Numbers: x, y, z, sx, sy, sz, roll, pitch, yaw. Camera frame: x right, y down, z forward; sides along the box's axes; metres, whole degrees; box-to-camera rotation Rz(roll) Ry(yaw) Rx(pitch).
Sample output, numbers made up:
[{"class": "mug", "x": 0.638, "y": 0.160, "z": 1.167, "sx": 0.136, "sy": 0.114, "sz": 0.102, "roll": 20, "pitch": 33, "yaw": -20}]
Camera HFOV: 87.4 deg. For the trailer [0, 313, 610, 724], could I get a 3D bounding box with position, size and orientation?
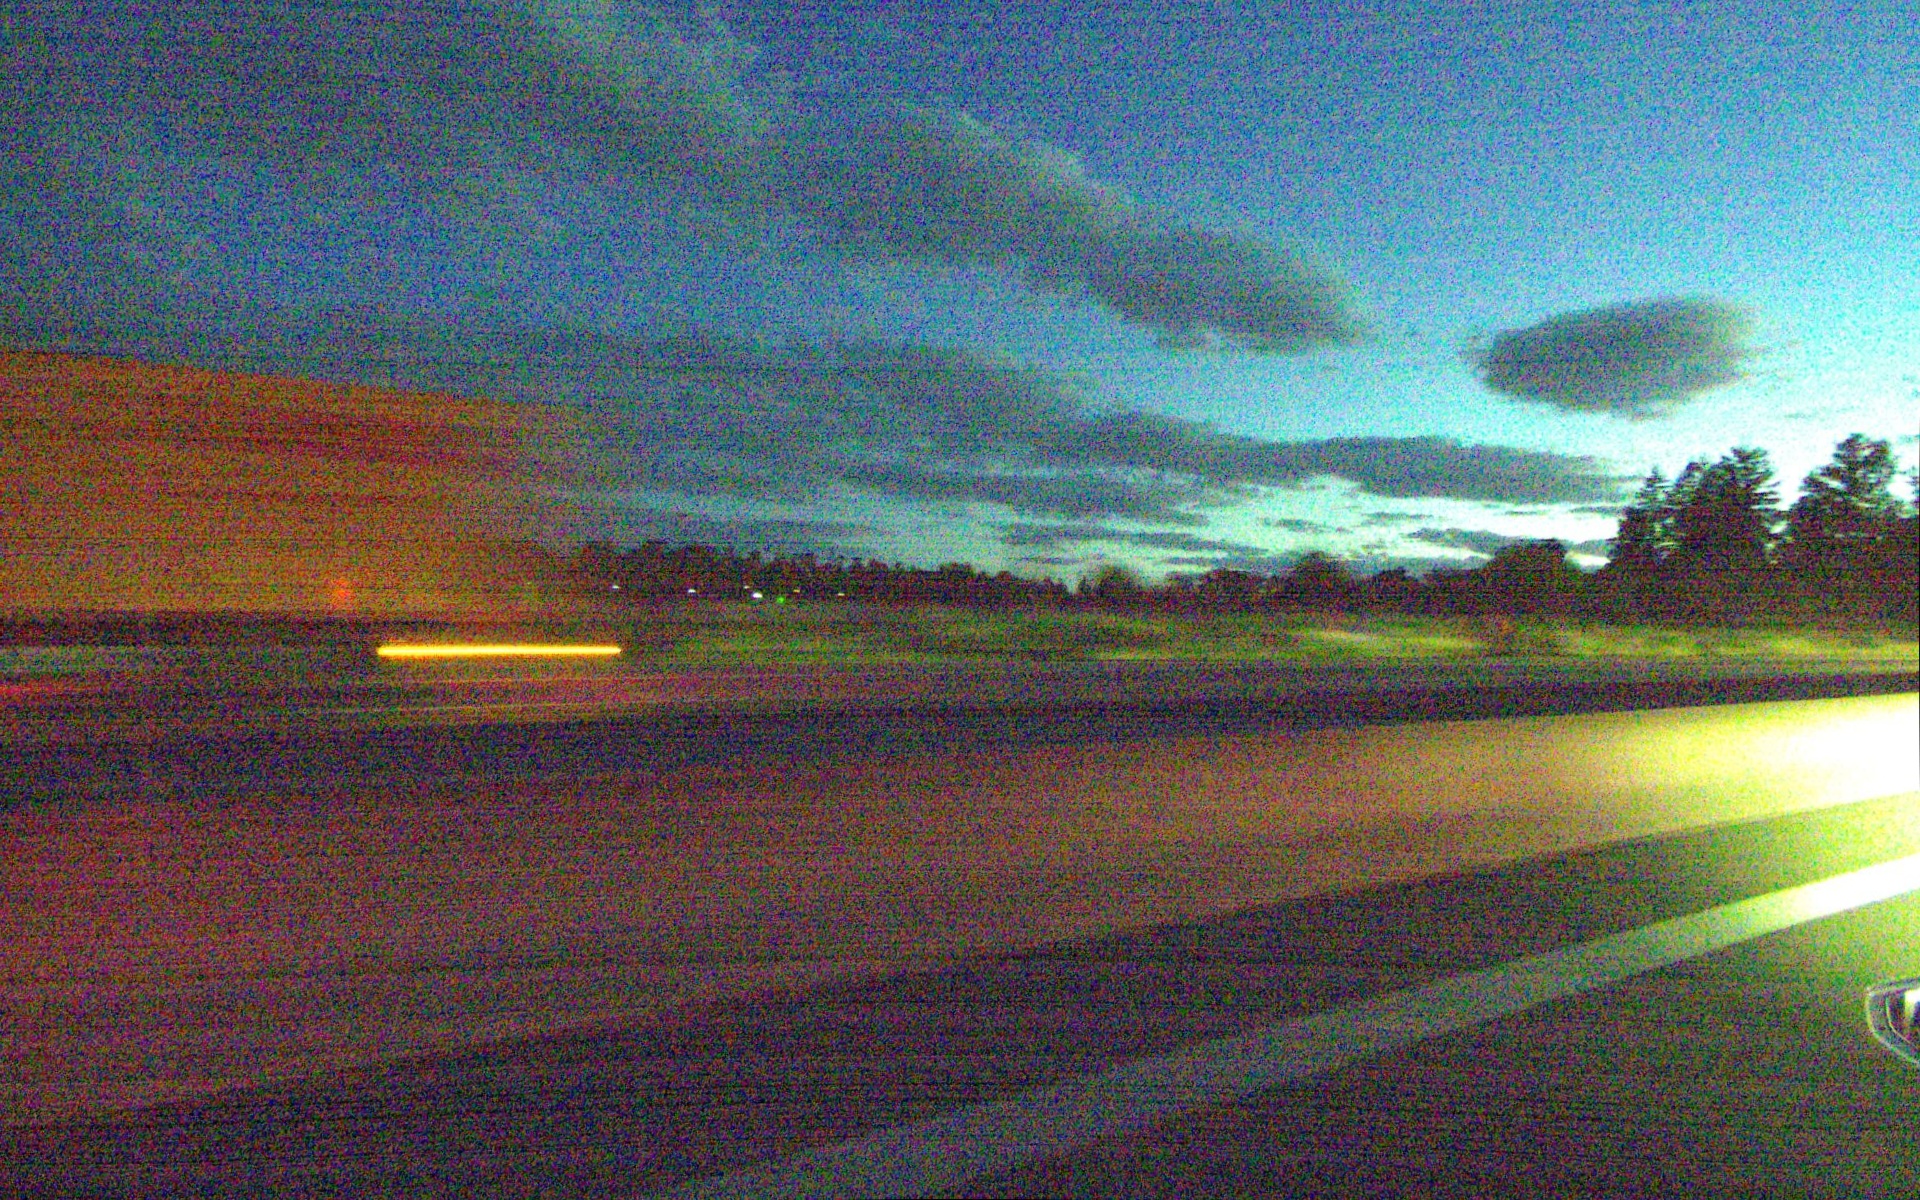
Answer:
[{"class": "trailer", "x": -9.401, "y": -0.848, "z": 13.411, "sx": 8.498, "sy": 4.497, "sz": 3.036, "roll": 1, "pitch": 0, "yaw": -30}]
